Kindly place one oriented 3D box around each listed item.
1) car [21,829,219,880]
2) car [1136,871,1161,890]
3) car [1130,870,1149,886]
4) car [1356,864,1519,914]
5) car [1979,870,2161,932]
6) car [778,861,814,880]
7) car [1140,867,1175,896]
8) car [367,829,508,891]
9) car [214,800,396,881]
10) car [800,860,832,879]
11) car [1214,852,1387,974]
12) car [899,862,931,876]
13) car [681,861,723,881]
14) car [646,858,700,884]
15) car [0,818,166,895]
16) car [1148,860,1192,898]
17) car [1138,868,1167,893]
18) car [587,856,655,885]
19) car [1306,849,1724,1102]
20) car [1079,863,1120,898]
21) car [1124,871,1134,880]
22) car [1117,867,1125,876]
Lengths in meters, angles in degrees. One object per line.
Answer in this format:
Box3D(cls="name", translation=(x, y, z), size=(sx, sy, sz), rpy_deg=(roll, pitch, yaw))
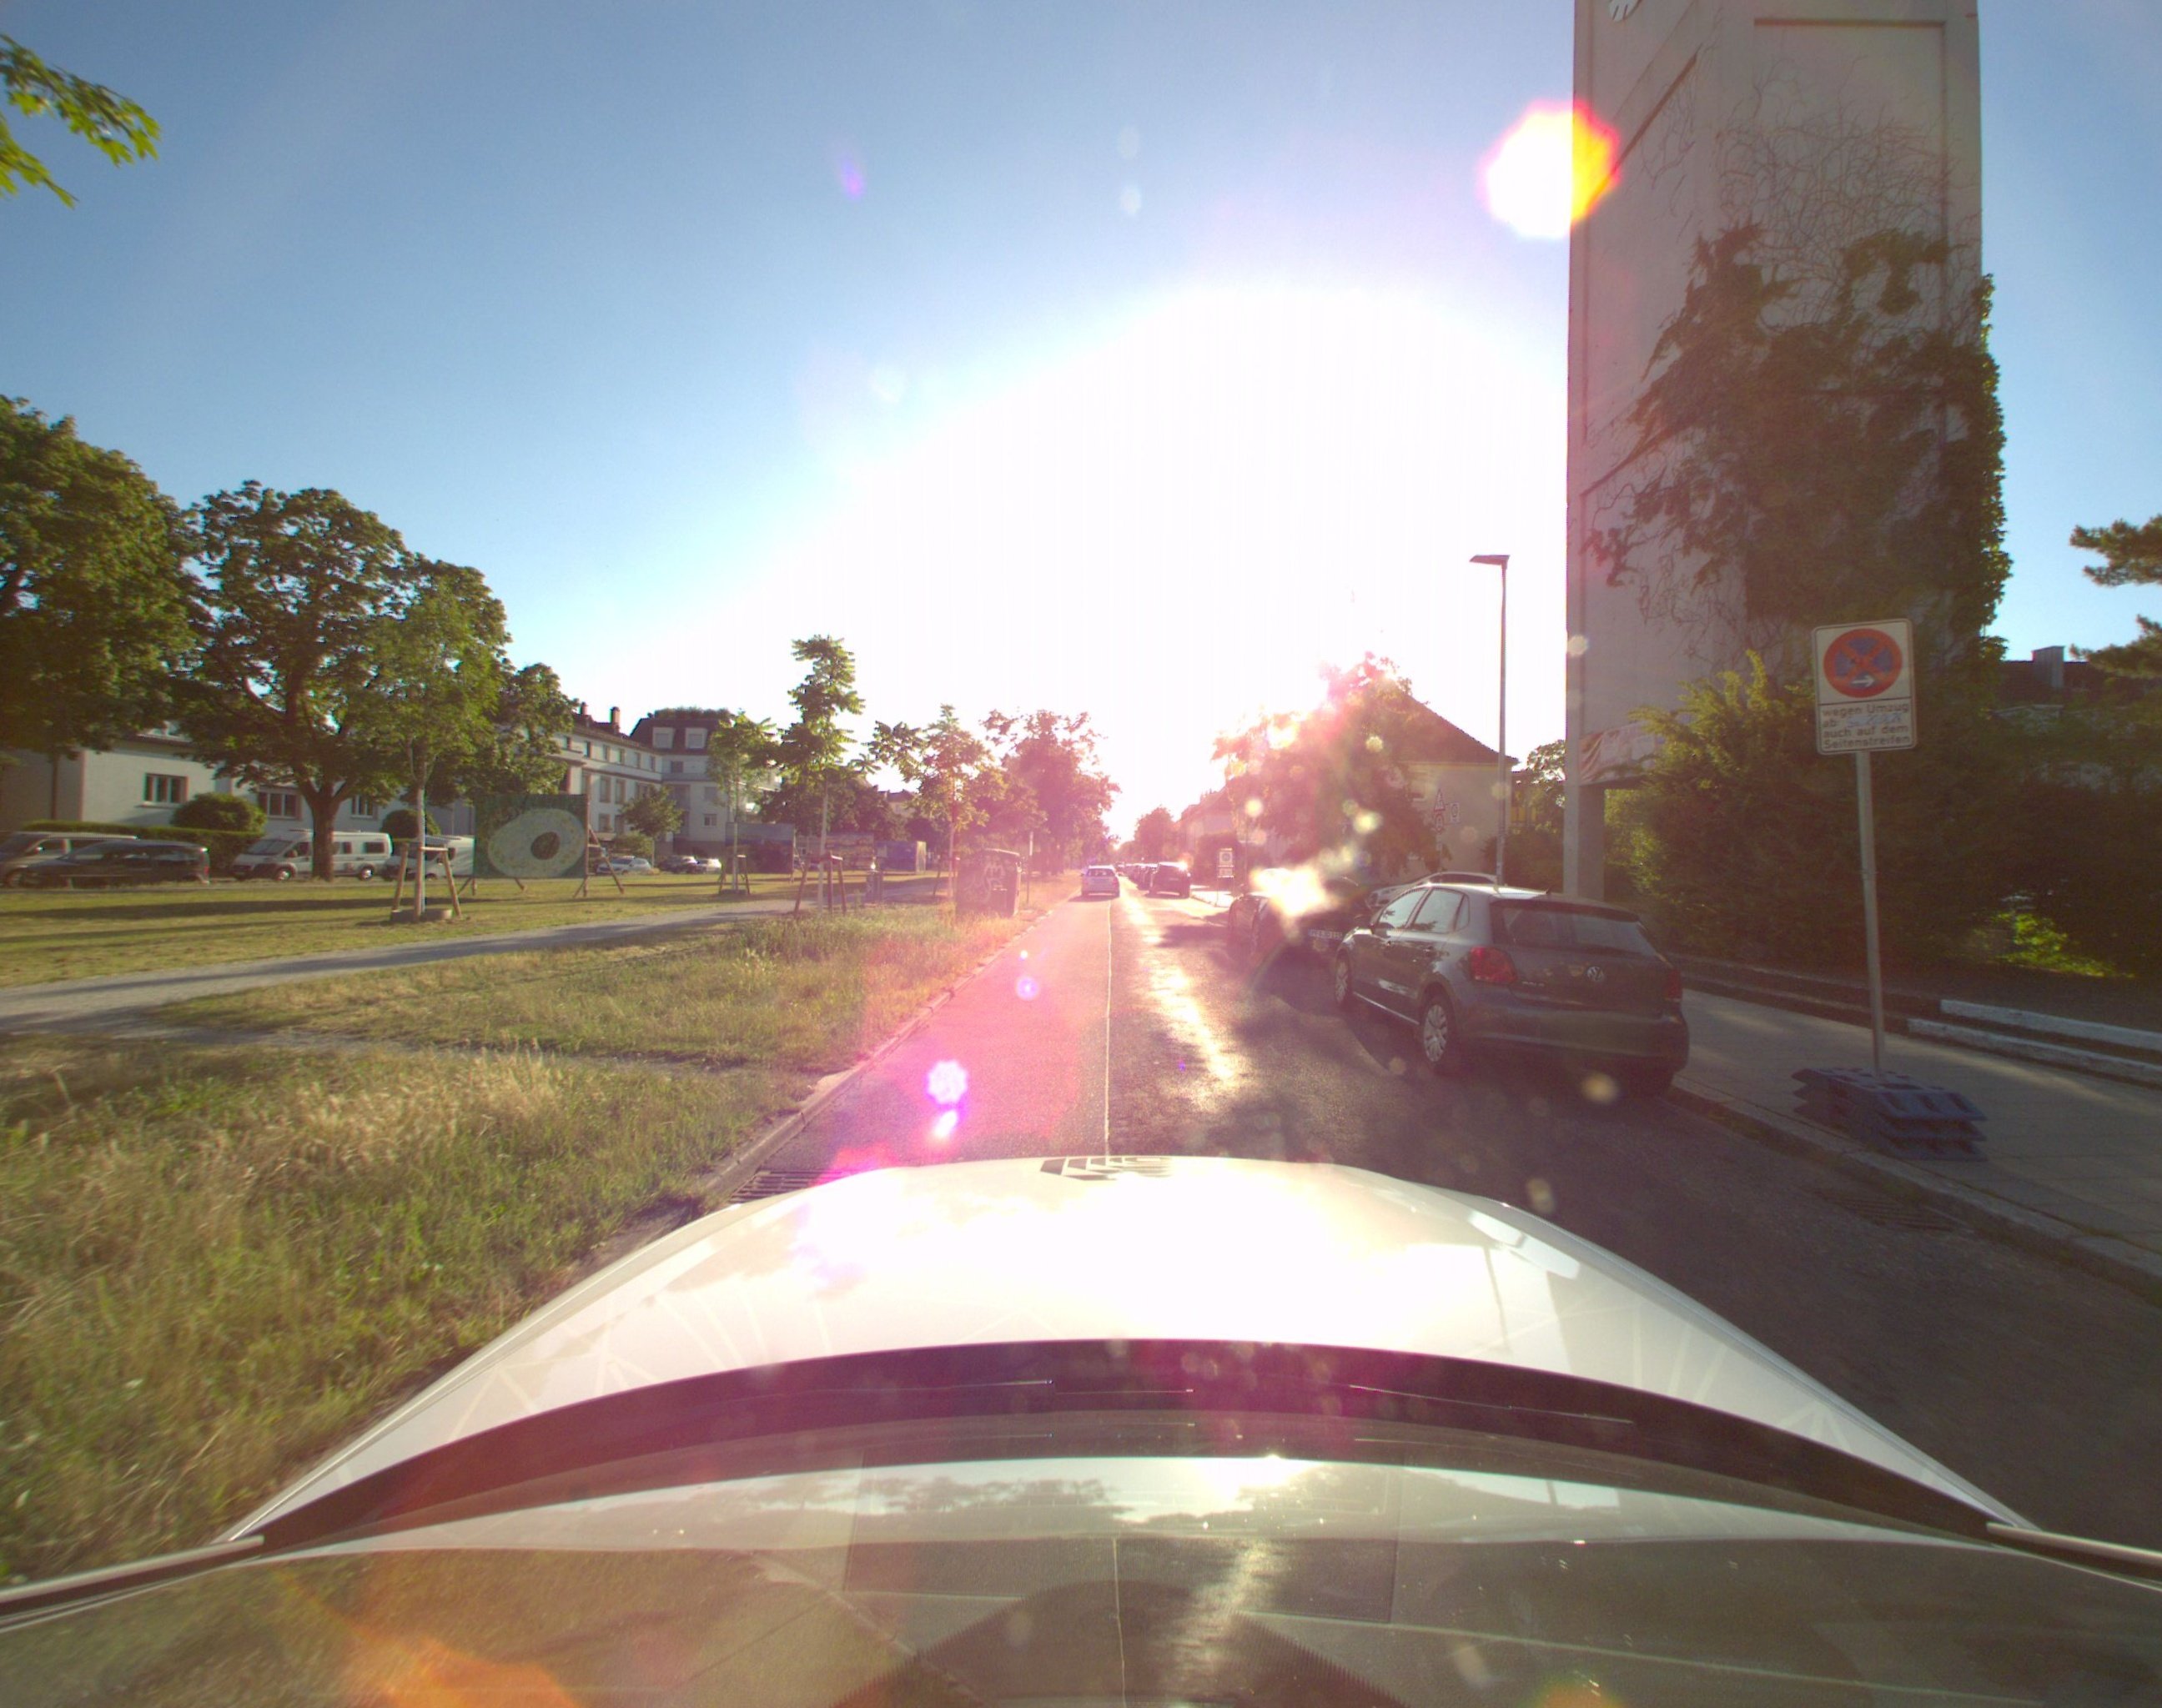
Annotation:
Box3D(cls="car", translation=(-32.249, 0.062, 27.550), size=(1.409, 1.564, 4.310), rpy_deg=(1, -1, 1))
Box3D(cls="car", translation=(5.808, 2.276, 70.299), size=(1.985, 1.462, 4.565), rpy_deg=(3, -1, 3))
Box3D(cls="car", translation=(6.206, 2.552, 86.754), size=(1.770, 1.643, 4.757), rpy_deg=(1, -2, 2))
Box3D(cls="car", translation=(12.309, 1.254, 28.364), size=(4.829, 1.487, 2.002), rpy_deg=(2, -5, 1))
Box3D(cls="car", translation=(34.537, 1.653, 28.002), size=(4.989, 1.973, 2.171), rpy_deg=(1, -4, -2))
Box3D(cls="car", translation=(-30.513, 1.819, 87.326), size=(1.921, 1.828, 4.693), rpy_deg=(-2, -2, 2))
Box3D(cls="car", translation=(5.060, 1.816, 54.434), size=(1.926, 1.720, 4.622), rpy_deg=(4, -1, 2))
Box3D(cls="car", translation=(-32.156, 0.408, 40.994), size=(2.251, 2.826, 5.873), rpy_deg=(-2, -2, 2))
Box3D(cls="car", translation=(-37.998, -0.503, 40.289), size=(2.294, 3.559, 6.767), rpy_deg=(-2, -2, 2))
Box3D(cls="car", translation=(-30.463, 1.822, 93.760), size=(2.013, 2.001, 5.367), rpy_deg=(-2, -2, -1))
Box3D(cls="car", translation=(3.586, 0.897, 14.215), size=(1.815, 1.561, 4.624), rpy_deg=(7, -1, 3))
Box3D(cls="car", translation=(-35.339, 3.196, 173.339), size=(6.331, 2.720, 1.984), rpy_deg=(2, -2, -29))
Box3D(cls="car", translation=(-36.906, 1.692, 79.391), size=(1.814, 1.744, 4.462), rpy_deg=(-2, -2, 3))
Box3D(cls="car", translation=(-37.190, 1.584, 74.432), size=(2.228, 2.131, 4.857), rpy_deg=(-2, -2, 3))
Box3D(cls="car", translation=(-38.485, 0.189, 30.577), size=(2.128, 2.604, 5.324), rpy_deg=(-2, -2, 0))
Box3D(cls="car", translation=(4.574, 1.322, 42.658), size=(1.826, 1.732, 5.033), rpy_deg=(3, -2, 2))
Box3D(cls="car", translation=(5.235, 1.906, 59.958), size=(1.847, 1.657, 4.822), rpy_deg=(2, -1, 3))
Box3D(cls="car", translation=(-31.899, 1.180, 56.612), size=(1.826, 1.899, 4.645), rpy_deg=(-2, -2, 3))
Box3D(cls="car", translation=(3.459, 0.821, 7.504), size=(1.681, 1.528, 4.177), rpy_deg=(5, 0, 3))
Box3D(cls="car", translation=(0.937, 1.215, 38.166), size=(1.816, 1.566, 4.002), rpy_deg=(0, -1, 3))
Box3D(cls="car", translation=(8.267, 3.737, 140.818), size=(1.714, 1.597, 4.002), rpy_deg=(1, -2, 3))
Box3D(cls="car", translation=(9.791, 4.354, 199.043), size=(1.980, 2.024, 4.002), rpy_deg=(1, -2, 3))
